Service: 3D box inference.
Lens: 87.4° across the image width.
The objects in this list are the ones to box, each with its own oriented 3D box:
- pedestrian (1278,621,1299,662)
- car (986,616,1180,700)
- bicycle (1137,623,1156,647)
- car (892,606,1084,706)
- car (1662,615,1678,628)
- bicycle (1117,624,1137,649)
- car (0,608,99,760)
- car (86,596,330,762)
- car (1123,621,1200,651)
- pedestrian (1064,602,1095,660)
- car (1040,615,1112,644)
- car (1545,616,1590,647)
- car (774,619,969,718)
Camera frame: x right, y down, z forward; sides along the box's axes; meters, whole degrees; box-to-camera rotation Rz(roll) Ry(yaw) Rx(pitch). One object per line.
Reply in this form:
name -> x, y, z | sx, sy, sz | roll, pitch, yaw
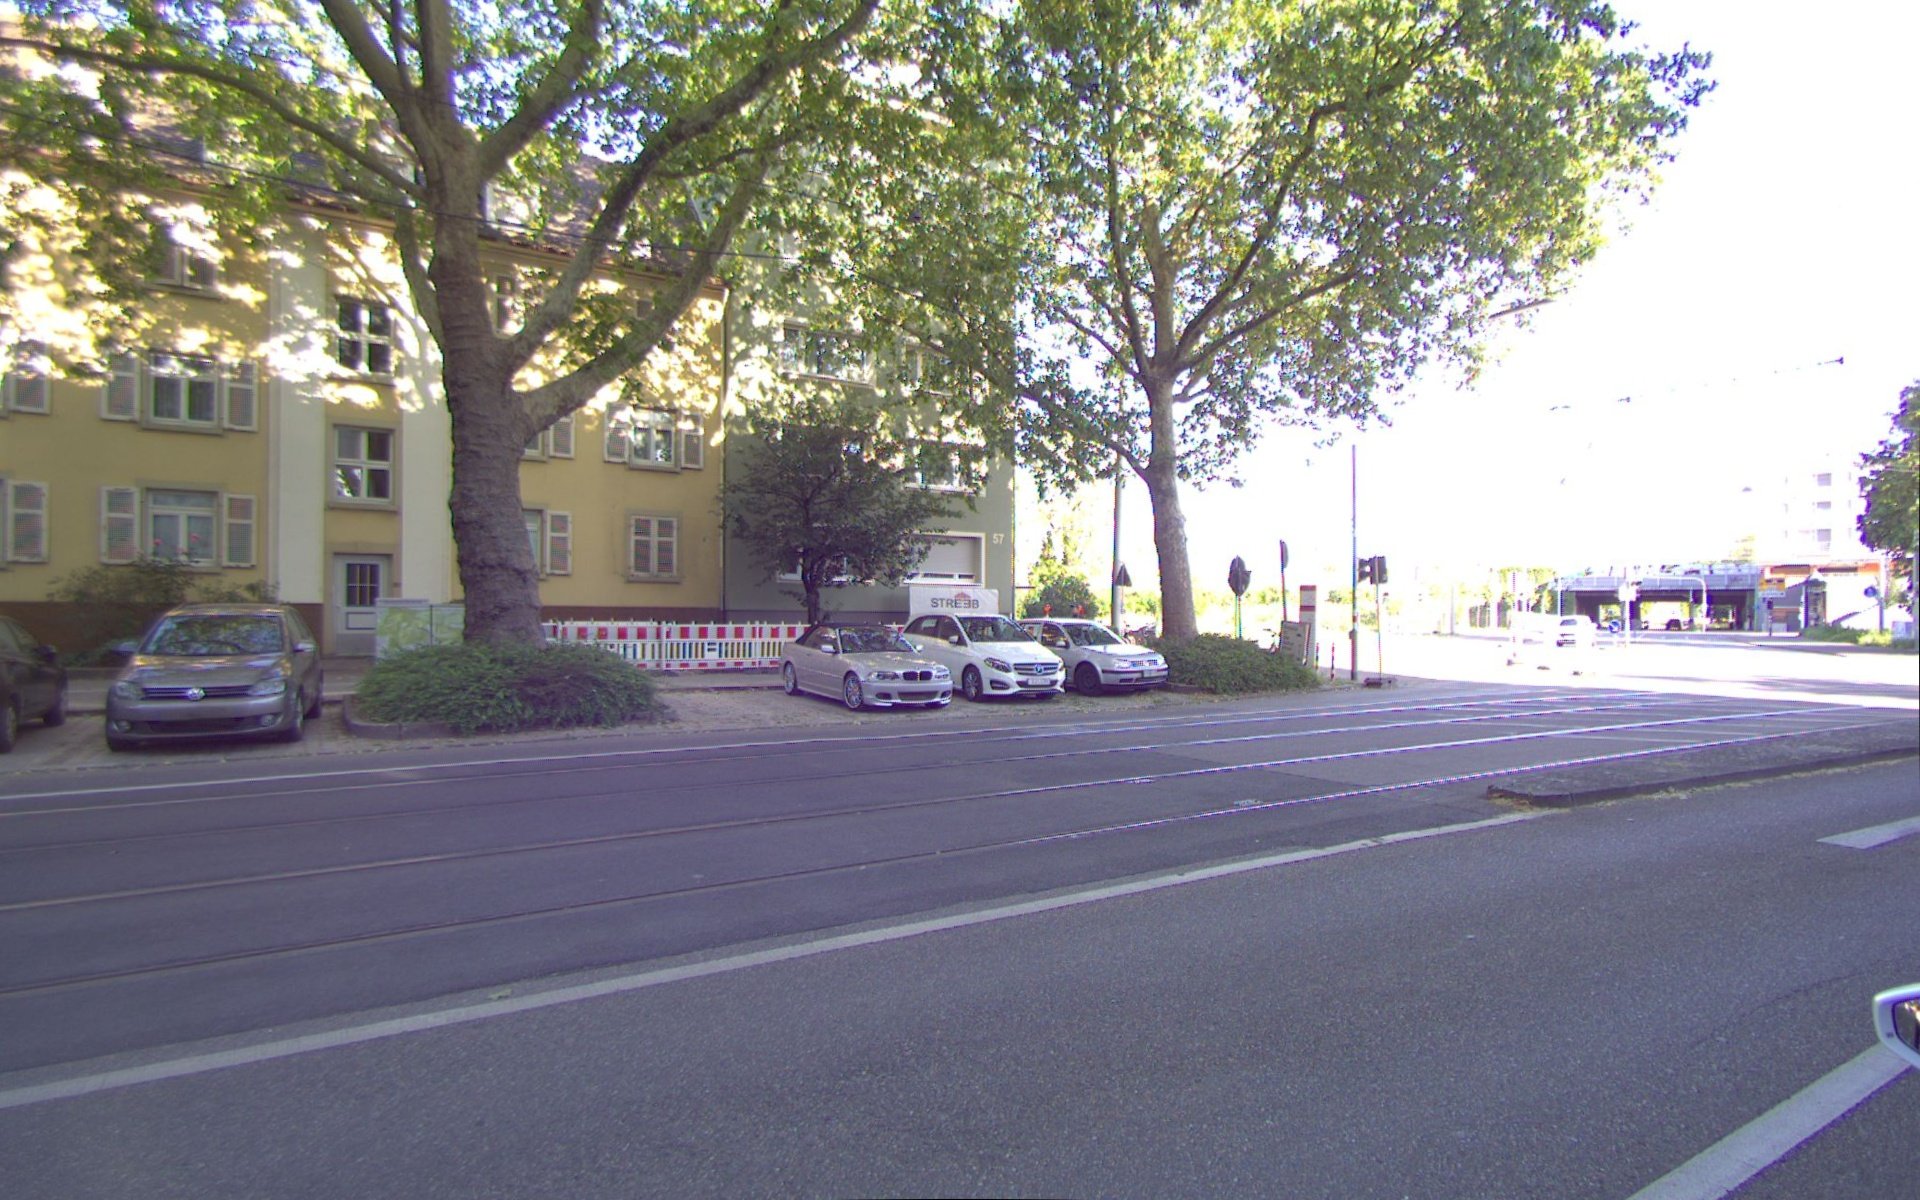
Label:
pedestrian -> 13.296, 1.680, 40.663 | 0.591, 1.617, 0.682 | 2, 0, 35
car -> 2.413, 1.119, 20.566 | 1.688, 1.436, 3.960 | 2, 0, -36
bicycle -> 6.396, 1.185, 34.471 | 0.351, 0.769, 1.781 | 0, -1, 1
car -> 0.412, 0.986, 19.184 | 1.822, 1.633, 4.052 | 2, 0, -29
car -> 112.836, 3.406, 159.624 | 1.966, 2.040, 3.989 | 2, 0, 34
bicycle -> 5.394, 1.170, 32.370 | 0.351, 0.769, 1.781 | 0, -1, 18
car -> -11.407, 0.865, 11.428 | 1.673, 1.466, 3.834 | 2, 0, -29
car -> -8.970, 0.815, 12.340 | 1.822, 1.641, 4.052 | 2, 0, -29
car -> 11.608, 2.037, 57.838 | 3.933, 1.439, 1.887 | 0, 5, 35
pedestrian -> 3.342, 0.858, 28.156 | 0.592, 1.589, 0.741 | 0, 0, 33
car -> 7.054, 1.755, 61.052 | 3.933, 1.439, 1.887 | 0, 5, 35
car -> 33.604, 1.720, 55.685 | 1.964, 1.653, 4.622 | 0, -1, 29
car -> -1.652, 1.089, 17.293 | 1.822, 1.387, 4.052 | 2, 0, -29
